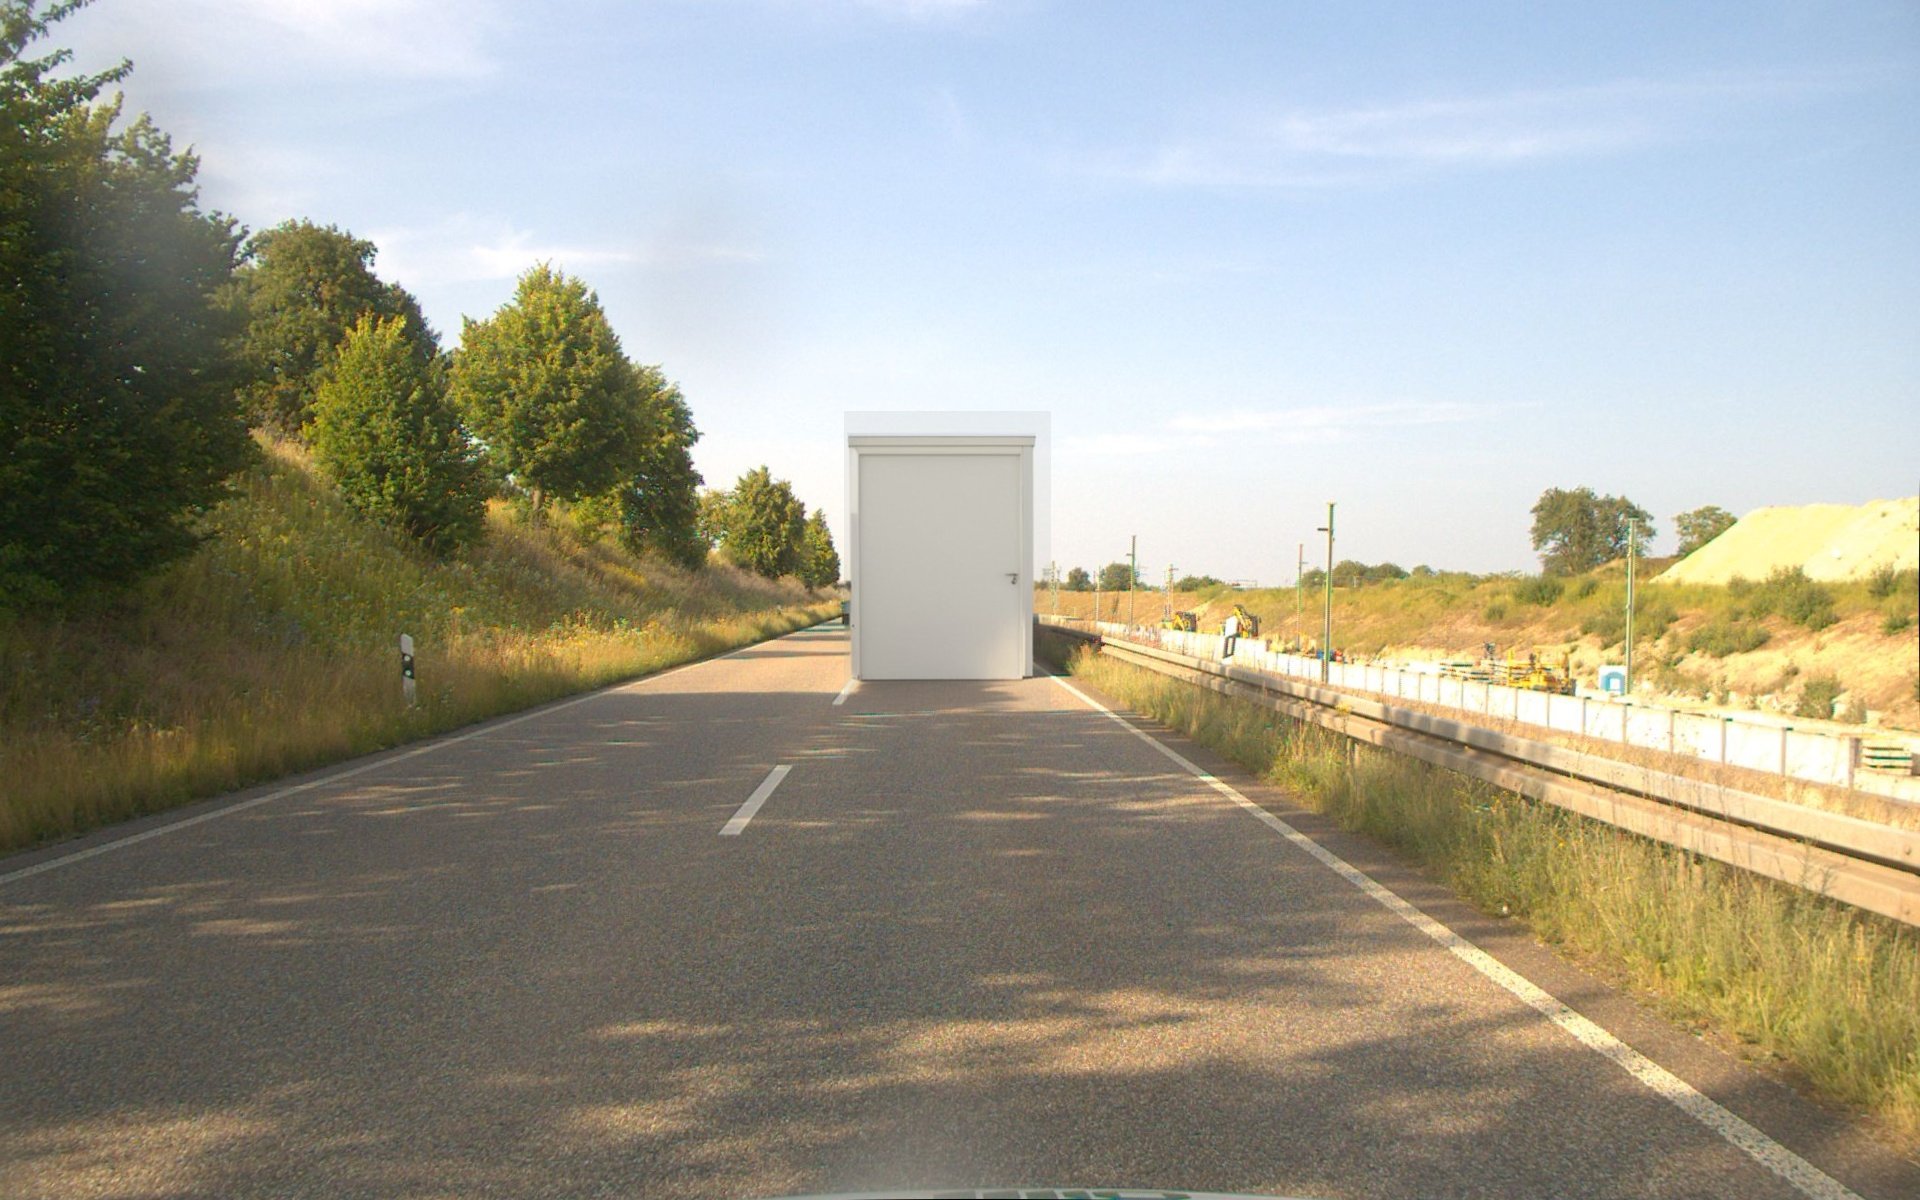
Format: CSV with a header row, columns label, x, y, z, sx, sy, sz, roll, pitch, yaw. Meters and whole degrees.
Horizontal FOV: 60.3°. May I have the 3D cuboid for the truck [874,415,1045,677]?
label,x,y,z,sx,sy,sz,roll,pitch,yaw
truck,-0.104,-0.989,34.508,3.089,4.770,8.439,1,0,-1

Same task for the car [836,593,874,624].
label,x,y,z,sx,sy,sz,roll,pitch,yaw
car,-5.489,0.451,86.704,1.707,1.574,4.311,0,0,0

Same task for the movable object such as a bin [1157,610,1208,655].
label,x,y,z,sx,sy,sz,roll,pitch,yaw
movable object such as a bin,17.456,2.512,130.100,2.569,3.296,8.069,1,0,-2

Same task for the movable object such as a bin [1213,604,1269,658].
label,x,y,z,sx,sy,sz,roll,pitch,yaw
movable object such as a bin,21.891,2.360,129.066,2.740,3.954,7.534,1,0,-2

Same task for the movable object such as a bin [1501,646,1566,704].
label,x,y,z,sx,sy,sz,roll,pitch,yaw
movable object such as a bin,28.320,3.665,81.636,2.845,2.708,2.019,1,0,24
